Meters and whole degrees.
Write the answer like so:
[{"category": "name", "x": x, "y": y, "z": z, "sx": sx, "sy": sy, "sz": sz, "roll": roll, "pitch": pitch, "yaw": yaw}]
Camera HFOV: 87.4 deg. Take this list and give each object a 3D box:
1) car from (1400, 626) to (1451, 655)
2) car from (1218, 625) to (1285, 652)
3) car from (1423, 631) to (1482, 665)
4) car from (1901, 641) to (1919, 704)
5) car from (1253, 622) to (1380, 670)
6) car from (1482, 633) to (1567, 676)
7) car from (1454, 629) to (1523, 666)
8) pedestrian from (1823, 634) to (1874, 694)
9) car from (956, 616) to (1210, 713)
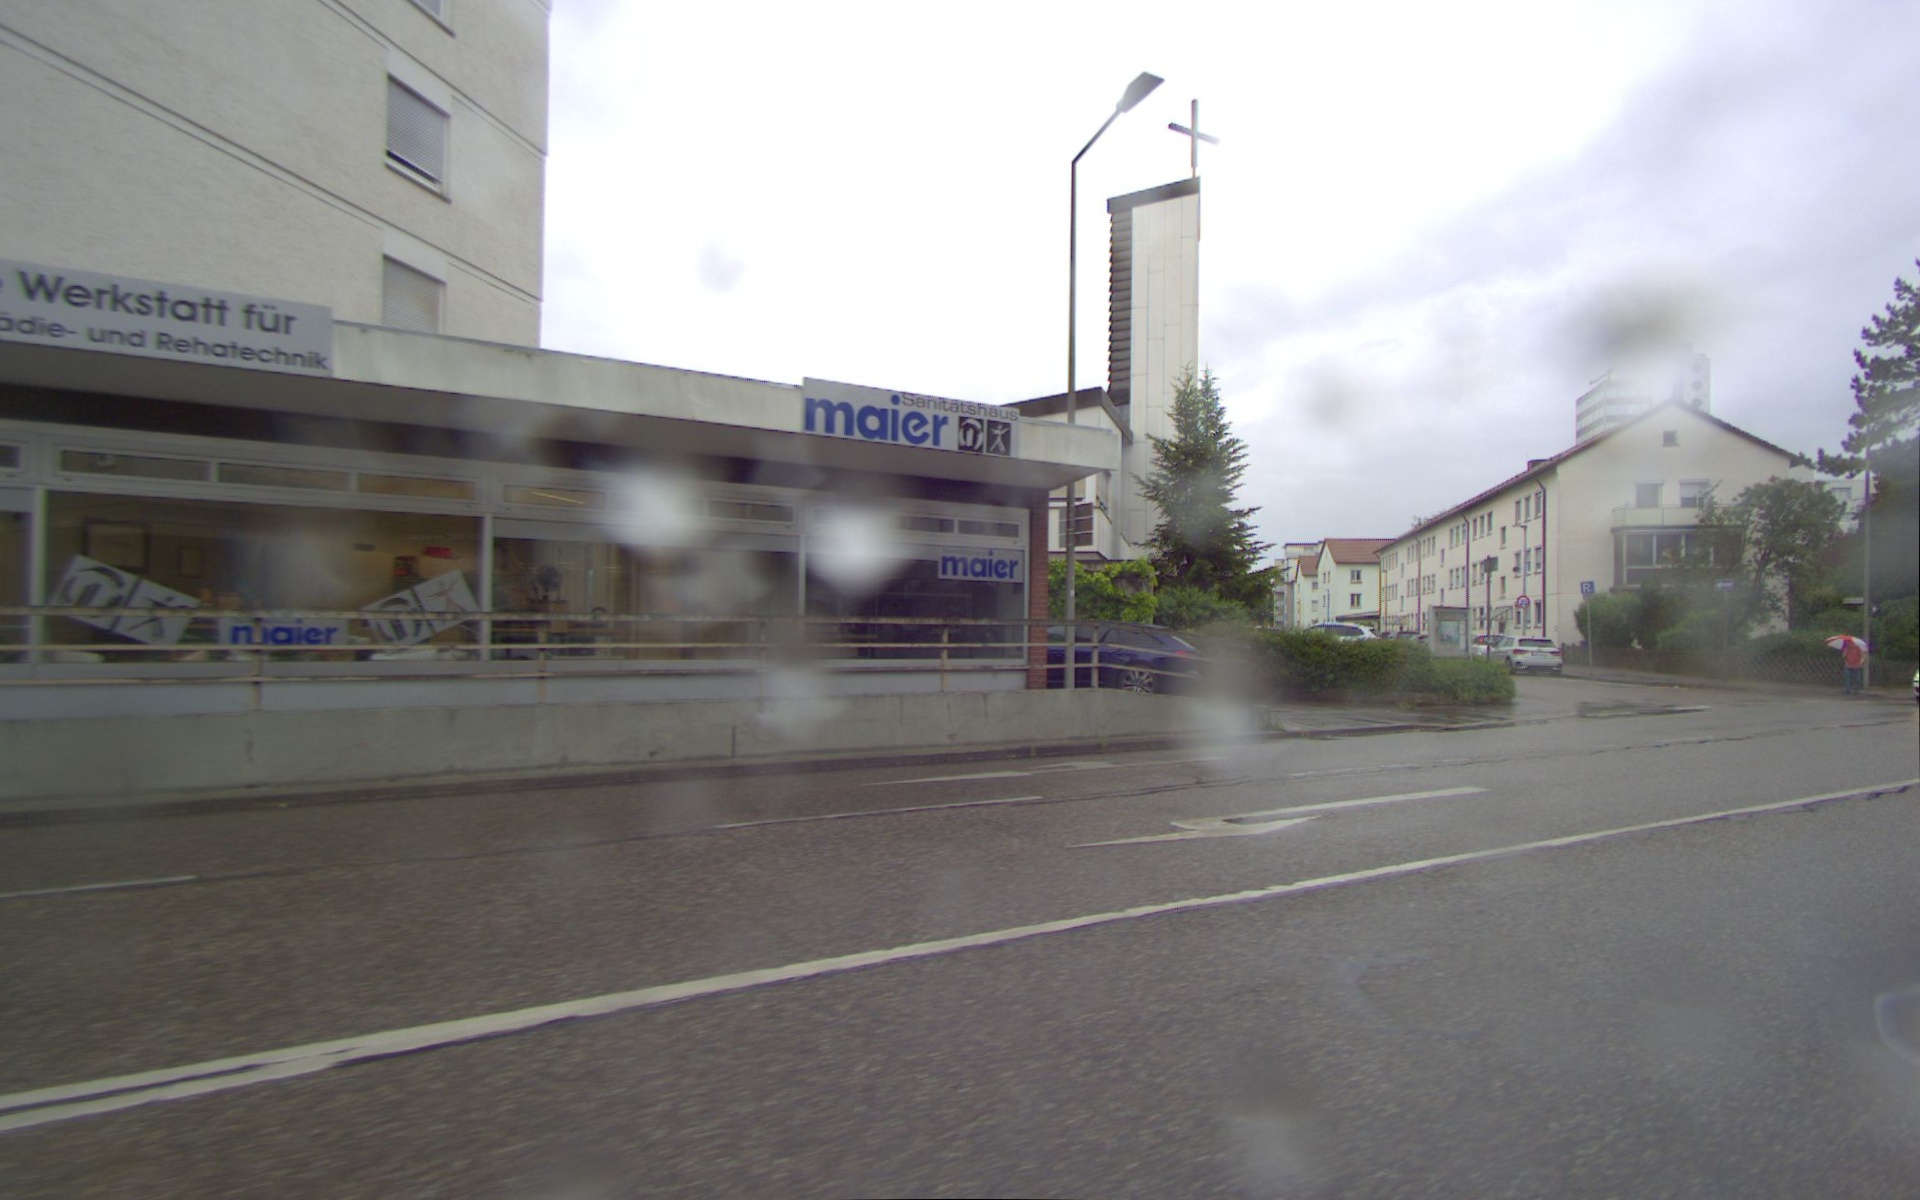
[{"category": "car", "x": 24.824, "y": 2.129, "z": 53.686, "sx": 1.751, "sy": 1.466, "sz": 3.824, "roll": 1, "pitch": -1, "yaw": 14}, {"category": "car", "x": 17.270, "y": 2.275, "z": 59.517, "sx": 3.745, "sy": 1.466, "sz": 1.788, "roll": 1, "pitch": -1, "yaw": 16}, {"category": "car", "x": 23.520, "y": 2.268, "z": 48.092, "sx": 1.751, "sy": 1.466, "sz": 3.824, "roll": 1, "pitch": -1, "yaw": 14}, {"category": "car", "x": 23.711, "y": 1.626, "z": 23.342, "sx": 3.955, "sy": 1.427, "sz": 1.689, "roll": 1, "pitch": -3, "yaw": -32}, {"category": "car", "x": 13.233, "y": 1.673, "z": 37.364, "sx": 4.301, "sy": 1.636, "sz": 2.132, "roll": 1, "pitch": -1, "yaw": 20}, {"category": "car", "x": 20.971, "y": 1.978, "z": 37.460, "sx": 1.751, "sy": 1.466, "sz": 4.004, "roll": 1, "pitch": -1, "yaw": 14}, {"category": "car", "x": 22.542, "y": 1.995, "z": 42.972, "sx": 1.751, "sy": 1.466, "sz": 3.824, "roll": 1, "pitch": -1, "yaw": 14}, {"category": "pedestrian", "x": 25.204, "y": 1.808, "z": 28.491, "sx": 1.093, "sy": 1.628, "sz": 0.863, "roll": 3, "pitch": -2, "yaw": -36}, {"category": "car", "x": 2.294, "y": 1.117, "z": 18.364, "sx": 4.380, "sy": 1.566, "sz": 2.001, "roll": 1, "pitch": -1, "yaw": 13}]
